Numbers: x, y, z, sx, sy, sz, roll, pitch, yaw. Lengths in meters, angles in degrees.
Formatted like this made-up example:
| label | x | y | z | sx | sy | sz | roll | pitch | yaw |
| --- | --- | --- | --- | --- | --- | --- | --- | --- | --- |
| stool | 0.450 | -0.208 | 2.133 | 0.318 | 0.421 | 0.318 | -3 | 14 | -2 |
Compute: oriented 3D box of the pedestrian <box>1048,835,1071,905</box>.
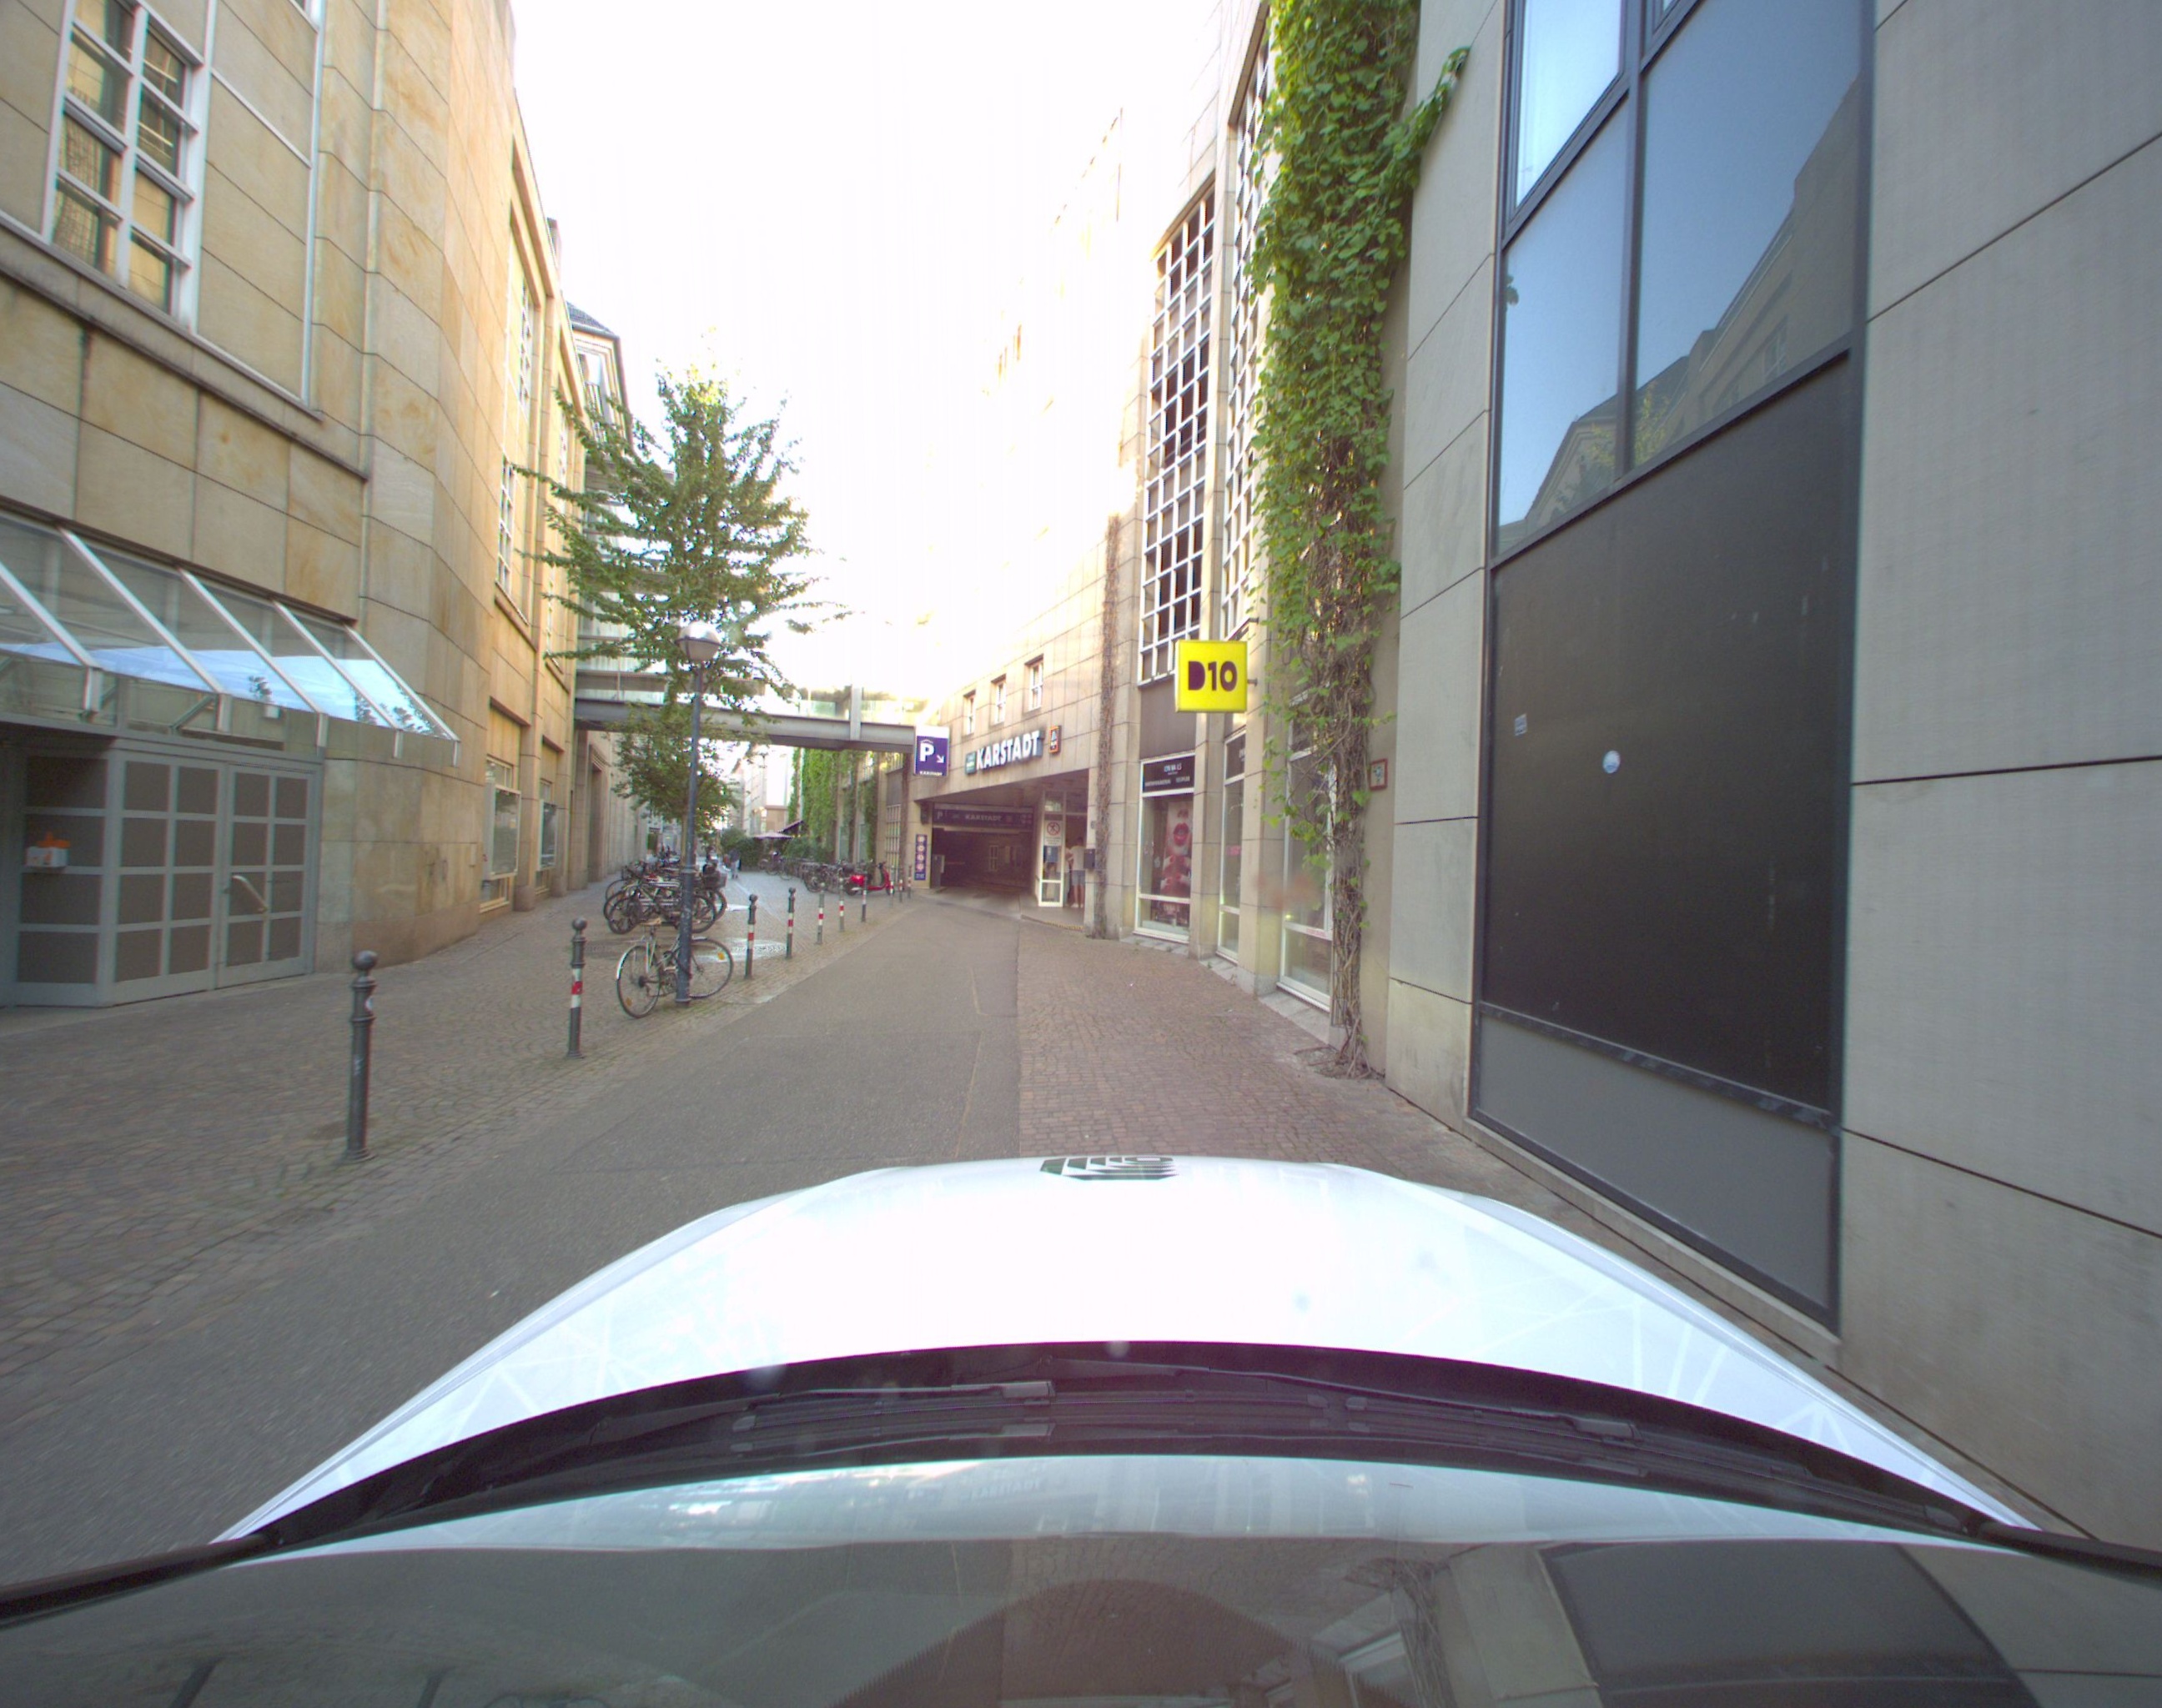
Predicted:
| label | x | y | z | sx | sy | sz | roll | pitch | yaw |
| --- | --- | --- | --- | --- | --- | --- | --- | --- | --- |
| pedestrian | -0.566 | 0.422 | 22.003 | 0.540 | 1.846 | 0.408 | 2 | 0 | 1 |

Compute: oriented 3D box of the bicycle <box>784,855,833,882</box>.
| label | x | y | z | sx | sy | sz | roll | pitch | yaw |
| --- | --- | --- | --- | --- | --- | --- | --- | --- | --- |
| bicycle | -12.152 | 0.630 | 36.292 | 2.003 | 1.182 | 0.688 | 0 | 0 | -25 |

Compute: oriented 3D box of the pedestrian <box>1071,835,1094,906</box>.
| label | x | y | z | sx | sy | sz | roll | pitch | yaw |
| --- | --- | --- | --- | --- | --- | --- | --- | --- | --- |
| pedestrian | 0.037 | 0.444 | 21.823 | 0.540 | 1.861 | 0.408 | 2 | 0 | 1 |

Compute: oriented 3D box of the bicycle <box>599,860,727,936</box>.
| label | x | y | z | sx | sy | sz | roll | pitch | yaw |
| --- | --- | --- | --- | --- | --- | --- | --- | --- | --- |
| bicycle | -7.297 | 0.757 | 14.314 | 1.922 | 1.261 | 0.802 | 2 | 0 | -25 |

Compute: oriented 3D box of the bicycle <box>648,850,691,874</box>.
| label | x | y | z | sx | sy | sz | roll | pitch | yaw |
| --- | --- | --- | --- | --- | --- | --- | --- | --- | --- |
| bicycle | -21.610 | 0.435 | 42.824 | 1.920 | 1.182 | 0.691 | 2 | 0 | -22 |

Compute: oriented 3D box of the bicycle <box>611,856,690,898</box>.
| label | x | y | z | sx | sy | sz | roll | pitch | yaw |
| --- | --- | --- | --- | --- | --- | --- | --- | --- | --- |
| bicycle | -12.522 | 0.670 | 23.735 | 1.920 | 1.182 | 0.691 | 2 | 0 | -22 |

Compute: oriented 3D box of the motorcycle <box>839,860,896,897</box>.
| label | x | y | z | sx | sy | sz | roll | pitch | yaw |
| --- | --- | --- | --- | --- | --- | --- | --- | --- | --- |
| motorcycle | -6.965 | 0.786 | 26.576 | 1.753 | 1.155 | 0.590 | 0 | 0 | -22 |

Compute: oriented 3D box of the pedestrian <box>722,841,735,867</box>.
| label | x | y | z | sx | sy | sz | roll | pitch | yaw |
| --- | --- | --- | --- | --- | --- | --- | --- | --- | --- |
| pedestrian | -24.614 | 0.014 | 56.898 | 0.769 | 1.804 | 0.770 | 2 | 0 | -26 |

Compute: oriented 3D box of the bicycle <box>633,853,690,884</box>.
| label | x | y | z | sx | sy | sz | roll | pitch | yaw |
| --- | --- | --- | --- | --- | --- | --- | --- | --- | --- |
| bicycle | -16.755 | 0.585 | 32.556 | 1.920 | 1.182 | 0.691 | 2 | 0 | -22 |

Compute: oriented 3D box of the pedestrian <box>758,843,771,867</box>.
| label | x | y | z | sx | sy | sz | roll | pitch | yaw |
| --- | --- | --- | --- | --- | --- | --- | --- | --- | --- |
| pedestrian | -23.809 | 0.074 | 61.285 | 0.779 | 1.804 | 0.760 | 2 | 0 | -30 |

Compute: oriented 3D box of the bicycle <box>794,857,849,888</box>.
| label | x | y | z | sx | sy | sz | roll | pitch | yaw |
| --- | --- | --- | --- | --- | --- | --- | --- | --- | --- |
| bicycle | -10.272 | 0.725 | 32.280 | 2.003 | 1.182 | 0.796 | 0 | 0 | -25 |

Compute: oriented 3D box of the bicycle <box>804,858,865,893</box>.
| label | x | y | z | sx | sy | sz | roll | pitch | yaw |
| --- | --- | --- | --- | --- | --- | --- | --- | --- | --- |
| bicycle | -8.770 | 0.755 | 28.945 | 2.003 | 1.182 | 0.690 | 0 | 0 | -25 |

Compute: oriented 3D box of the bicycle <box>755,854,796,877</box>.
| label | x | y | z | sx | sy | sz | roll | pitch | yaw |
| --- | --- | --- | --- | --- | --- | --- | --- | --- | --- |
| bicycle | -16.482 | 0.602 | 43.925 | 2.003 | 1.182 | 0.688 | 0 | 0 | -25 |

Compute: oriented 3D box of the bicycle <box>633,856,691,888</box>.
| label | x | y | z | sx | sy | sz | roll | pitch | yaw |
| --- | --- | --- | --- | --- | --- | --- | --- | --- | --- |
| bicycle | -16.333 | 0.693 | 31.786 | 1.920 | 1.182 | 0.691 | 2 | 0 | -22 |

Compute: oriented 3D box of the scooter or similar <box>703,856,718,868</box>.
| label | x | y | z | sx | sy | sz | roll | pitch | yaw |
| --- | --- | --- | --- | --- | --- | --- | --- | --- | --- |
| scooter or similar | -25.762 | 0.555 | 56.599 | 0.896 | 0.843 | 0.904 | 1 | 0 | -26 |

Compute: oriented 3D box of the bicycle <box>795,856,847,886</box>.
| label | x | y | z | sx | sy | sz | roll | pitch | yaw |
| --- | --- | --- | --- | --- | --- | --- | --- | --- | --- |
| bicycle | -10.609 | 0.679 | 33.238 | 2.003 | 1.182 | 0.688 | 0 | 0 | -25 |

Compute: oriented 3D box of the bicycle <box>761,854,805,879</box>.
| label | x | y | z | sx | sy | sz | roll | pitch | yaw |
| --- | --- | --- | --- | --- | --- | --- | --- | --- | --- |
| bicycle | -14.709 | 0.609 | 40.235 | 2.003 | 1.182 | 0.688 | 0 | 0 | -25 |

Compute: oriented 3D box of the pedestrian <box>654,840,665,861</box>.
| label | x | y | z | sx | sy | sz | roll | pitch | yaw |
| --- | --- | --- | --- | --- | --- | --- | --- | --- | --- |
| pedestrian | -35.576 | -0.282 | 68.681 | 0.779 | 1.804 | 0.628 | 2 | -1 | -30 |

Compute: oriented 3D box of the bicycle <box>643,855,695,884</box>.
| label | x | y | z | sx | sy | sz | roll | pitch | yaw |
| --- | --- | --- | --- | --- | --- | --- | --- | --- | --- |
| bicycle | -17.822 | 0.673 | 35.300 | 1.920 | 1.182 | 0.691 | 2 | 0 | -22 |

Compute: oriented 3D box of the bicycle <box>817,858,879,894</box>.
| label | x | y | z | sx | sy | sz | roll | pitch | yaw |
| --- | --- | --- | --- | --- | --- | --- | --- | --- | --- |
| bicycle | -8.061 | 0.741 | 28.151 | 2.003 | 1.182 | 0.690 | 0 | 0 | -25 |

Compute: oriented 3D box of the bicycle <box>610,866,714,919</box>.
| label | x | y | z | sx | sy | sz | roll | pitch | yaw |
| --- | --- | --- | --- | --- | --- | --- | --- | --- | --- |
| bicycle | -9.047 | 0.831 | 17.675 | 1.920 | 1.101 | 0.691 | 2 | 0 | -22 |

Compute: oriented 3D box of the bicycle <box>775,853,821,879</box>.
| label | x | y | z | sx | sy | sz | roll | pitch | yaw |
| --- | --- | --- | --- | --- | --- | --- | --- | --- | --- |
| bicycle | -13.392 | 0.573 | 38.540 | 2.003 | 1.182 | 0.688 | 0 | 0 | -25 |

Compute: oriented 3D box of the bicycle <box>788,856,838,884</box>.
| label | x | y | z | sx | sy | sz | roll | pitch | yaw |
| --- | --- | --- | --- | --- | --- | --- | --- | --- | --- |
| bicycle | -11.623 | 0.683 | 35.267 | 2.003 | 1.182 | 0.688 | 0 | 0 | -25 |

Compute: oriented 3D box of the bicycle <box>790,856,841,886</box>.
| label | x | y | z | sx | sy | sz | roll | pitch | yaw |
| --- | --- | --- | --- | --- | --- | --- | --- | --- | --- |
| bicycle | -11.104 | 0.700 | 34.076 | 2.003 | 1.182 | 0.688 | 0 | 0 | -25 |

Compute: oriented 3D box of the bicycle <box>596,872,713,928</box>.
| label | x | y | z | sx | sy | sz | roll | pitch | yaw |
| --- | --- | --- | --- | --- | --- | --- | --- | --- | --- |
| bicycle | -8.150 | 0.872 | 15.649 | 1.922 | 0.994 | 0.690 | 2 | 0 | -25 |

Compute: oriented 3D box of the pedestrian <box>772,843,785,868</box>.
| label | x | y | z | sx | sy | sz | roll | pitch | yaw |
| --- | --- | --- | --- | --- | --- | --- | --- | --- | --- |
| pedestrian | -22.803 | 0.106 | 61.420 | 0.779 | 1.804 | 0.760 | 2 | 0 | -30 |

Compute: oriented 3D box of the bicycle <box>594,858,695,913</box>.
| label | x | y | z | sx | sy | sz | roll | pitch | yaw |
| --- | --- | --- | --- | --- | --- | --- | --- | --- | --- |
| bicycle | -9.880 | 0.716 | 18.498 | 1.920 | 1.182 | 0.691 | 2 | 0 | -22 |

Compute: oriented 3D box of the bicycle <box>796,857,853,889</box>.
| label | x | y | z | sx | sy | sz | roll | pitch | yaw |
| --- | --- | --- | --- | --- | --- | --- | --- | --- | --- |
| bicycle | -9.719 | 0.713 | 30.874 | 2.003 | 1.182 | 0.796 | 0 | 0 | -25 |

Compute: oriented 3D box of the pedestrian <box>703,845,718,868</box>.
| label | x | y | z | sx | sy | sz | roll | pitch | yaw |
| --- | --- | --- | --- | --- | --- | --- | --- | --- | --- |
| pedestrian | -26.155 | 0.167 | 57.422 | 0.896 | 1.639 | 0.904 | 2 | 0 | -26 |

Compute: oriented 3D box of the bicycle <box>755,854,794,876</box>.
| label | x | y | z | sx | sy | sz | roll | pitch | yaw |
| --- | --- | --- | --- | --- | --- | --- | --- | --- | --- |
| bicycle | -16.820 | 0.581 | 44.705 | 2.003 | 1.182 | 0.688 | 0 | 0 | -25 |

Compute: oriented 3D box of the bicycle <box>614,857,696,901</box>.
| label | x | y | z | sx | sy | sz | roll | pitch | yaw |
| --- | --- | --- | --- | --- | --- | --- | --- | --- | --- |
| bicycle | -11.874 | 0.691 | 22.752 | 1.920 | 1.182 | 0.691 | 2 | 0 | -22 |

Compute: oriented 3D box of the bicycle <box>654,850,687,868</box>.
| label | x | y | z | sx | sy | sz | roll | pitch | yaw |
| --- | --- | --- | --- | --- | --- | --- | --- | --- | --- |
| bicycle | -28.151 | 0.348 | 55.870 | 1.920 | 1.182 | 0.691 | 2 | 0 | -22 |

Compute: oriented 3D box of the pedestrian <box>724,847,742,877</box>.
| label | x | y | z | sx | sy | sz | roll | pitch | yaw |
| --- | --- | --- | --- | --- | --- | --- | --- | --- | --- |
| pedestrian | -17.520 | 0.399 | 40.978 | 0.752 | 1.509 | 0.632 | 2 | 0 | -27 |

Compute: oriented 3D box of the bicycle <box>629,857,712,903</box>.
| label | x | y | z | sx | sy | sz | roll | pitch | yaw |
| --- | --- | --- | --- | --- | --- | --- | --- | --- | --- |
| bicycle | -11.105 | 0.714 | 22.085 | 1.920 | 1.182 | 0.691 | 2 | 0 | -22 |

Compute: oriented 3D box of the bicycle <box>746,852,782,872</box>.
| label | x | y | z | sx | sy | sz | roll | pitch | yaw |
| --- | --- | --- | --- | --- | --- | --- | --- | --- | --- |
| bicycle | -19.057 | 0.452 | 48.992 | 2.003 | 1.182 | 0.688 | 0 | 0 | -25 |

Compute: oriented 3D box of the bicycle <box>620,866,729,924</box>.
| label | x | y | z | sx | sy | sz | roll | pitch | yaw |
| --- | --- | --- | --- | --- | --- | --- | --- | --- | --- |
| bicycle | -8.221 | 0.826 | 16.564 | 1.922 | 1.101 | 0.690 | 2 | 0 | -25 |

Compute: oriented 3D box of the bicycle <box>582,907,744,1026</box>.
| label | x | y | z | sx | sy | sz | roll | pitch | yaw |
| --- | --- | --- | --- | --- | --- | --- | --- | --- | --- |
| bicycle | -4.153 | 1.076 | 8.249 | 0.502 | 0.966 | 1.699 | 1 | 0 | 10 |

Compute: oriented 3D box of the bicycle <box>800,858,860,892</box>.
| label | x | y | z | sx | sy | sz | roll | pitch | yaw |
| --- | --- | --- | --- | --- | --- | --- | --- | --- | --- |
| bicycle | -9.178 | 0.763 | 29.790 | 2.003 | 1.182 | 0.796 | 0 | 0 | -25 |
